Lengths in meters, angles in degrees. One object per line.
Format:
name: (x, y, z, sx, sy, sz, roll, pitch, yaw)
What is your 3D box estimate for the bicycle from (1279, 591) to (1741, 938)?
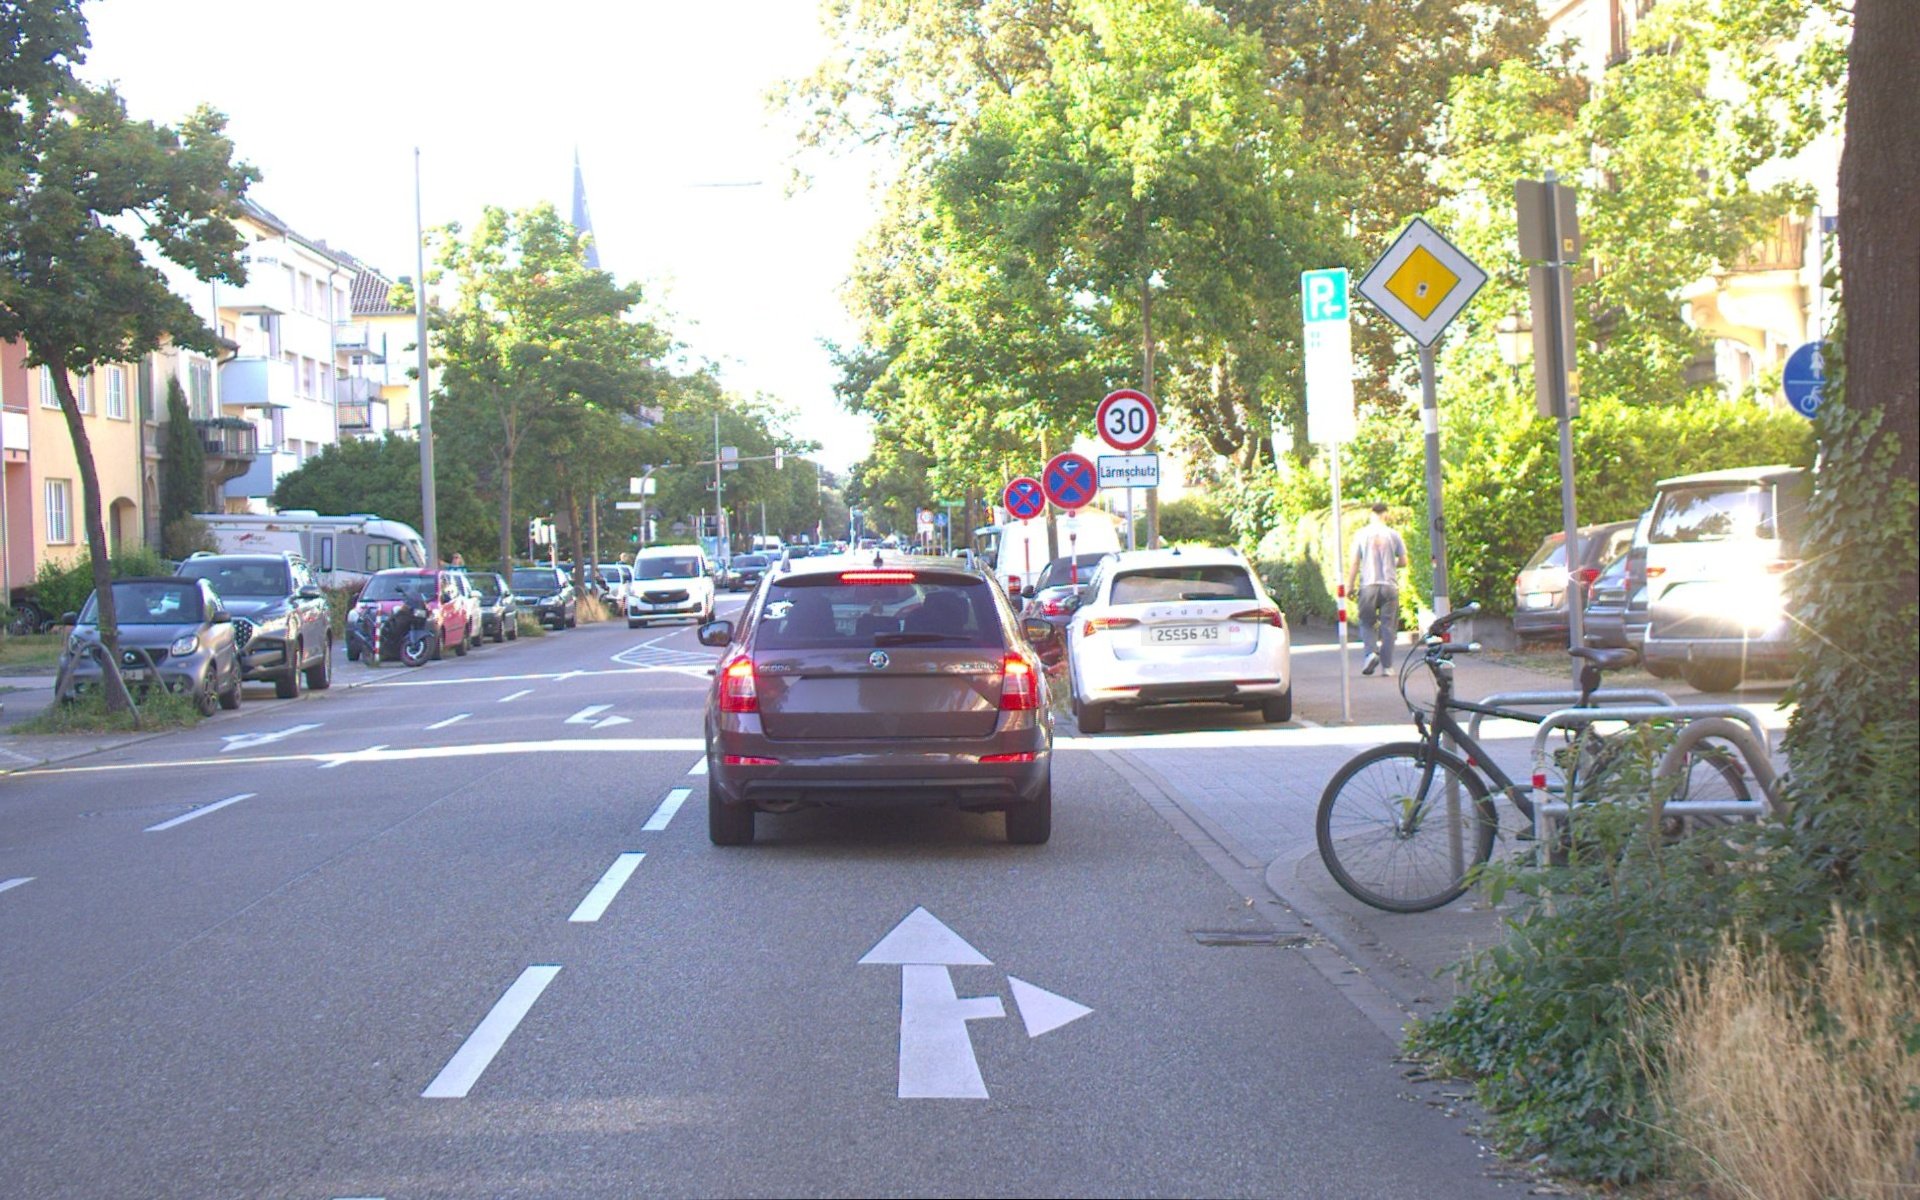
bicycle: (2.156, 0.637, 13.457, 1.671, 1.222, 0.635, -4, 1, 12)

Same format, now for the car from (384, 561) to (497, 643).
car: (-9.728, 0.018, 64.606, 1.664, 1.427, 3.275, -2, 1, -1)

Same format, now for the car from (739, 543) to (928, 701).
car: (-1.376, 0.186, 35.949, 1.729, 1.488, 3.951, -2, 1, -5)

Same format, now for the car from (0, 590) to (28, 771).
car: (-8.467, 0.703, 25.787, 1.754, 1.415, 4.426, -2, 1, -1)

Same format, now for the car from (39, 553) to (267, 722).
car: (-9.086, 0.384, 38.961, 1.750, 1.734, 3.591, -2, 1, -1)

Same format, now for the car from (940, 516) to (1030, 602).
car: (0.525, -0.928, 76.383, 1.729, 1.809, 3.951, -2, 1, -3)

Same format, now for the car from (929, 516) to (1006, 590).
car: (0.178, -1.232, 88.870, 1.729, 1.809, 3.951, -2, 1, -3)

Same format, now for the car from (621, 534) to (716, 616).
car: (-6.651, -0.597, 78.843, 1.876, 1.751, 4.179, -2, 1, -1)

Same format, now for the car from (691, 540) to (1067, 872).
car: (-0.404, 0.465, 18.191, 1.729, 1.488, 3.951, -2, 1, -1)

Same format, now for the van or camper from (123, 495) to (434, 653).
van or camper: (-17.790, -0.711, 90.015, 7.639, 3.861, 2.000, -2, 1, -3)

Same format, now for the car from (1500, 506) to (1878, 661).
car: (7.930, -0.200, 37.373, 3.799, 1.520, 1.512, -2, 1, -23)

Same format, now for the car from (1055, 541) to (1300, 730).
car: (1.775, 0.242, 29.207, 1.821, 1.408, 4.111, -2, 1, 1)

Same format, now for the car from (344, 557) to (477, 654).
car: (-9.383, 0.072, 58.921, 1.664, 1.506, 4.179, -2, 1, -1)

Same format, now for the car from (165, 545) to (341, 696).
car: (-8.926, 0.221, 43.629, 1.507, 1.751, 3.694, -2, 1, -1)

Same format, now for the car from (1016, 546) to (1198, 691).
car: (1.555, 0.158, 37.691, 1.821, 1.408, 4.111, -2, 1, 1)

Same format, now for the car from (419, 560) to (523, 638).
car: (-9.810, -0.039, 69.150, 1.664, 1.427, 3.275, -2, 1, -1)

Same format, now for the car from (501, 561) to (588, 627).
car: (-9.690, -0.152, 80.303, 1.664, 1.427, 3.275, -2, 1, -1)

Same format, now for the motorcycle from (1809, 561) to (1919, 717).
motorcycle: (7.435, 0.264, 25.666, 2.051, 1.121, 0.525, -2, 1, -6)

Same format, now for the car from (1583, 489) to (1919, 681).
car: (7.895, -0.181, 32.633, 3.800, 1.673, 1.512, -3, 2, -31)

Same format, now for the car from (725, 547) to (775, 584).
car: (-9.047, -1.507, 148.373, 1.993, 1.503, 4.000, -2, 1, -1)

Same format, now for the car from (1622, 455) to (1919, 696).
car: (8.059, -0.270, 29.250, 4.533, 1.886, 1.915, -2, 1, -28)

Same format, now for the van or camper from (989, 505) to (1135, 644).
van or camper: (1.538, -0.424, 53.101, 1.993, 2.007, 4.001, -2, 1, -1)

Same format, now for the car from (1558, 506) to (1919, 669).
car: (8.187, -0.154, 35.254, 3.799, 1.520, 1.512, -2, 1, -23)

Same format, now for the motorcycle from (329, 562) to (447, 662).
motorcycle: (-8.991, 0.184, 53.981, 0.764, 1.506, 2.029, -3, 2, -44)

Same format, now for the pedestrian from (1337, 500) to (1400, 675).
pedestrian: (4.256, -0.138, 35.820, 0.535, 1.788, 0.687, -2, 1, 1)
